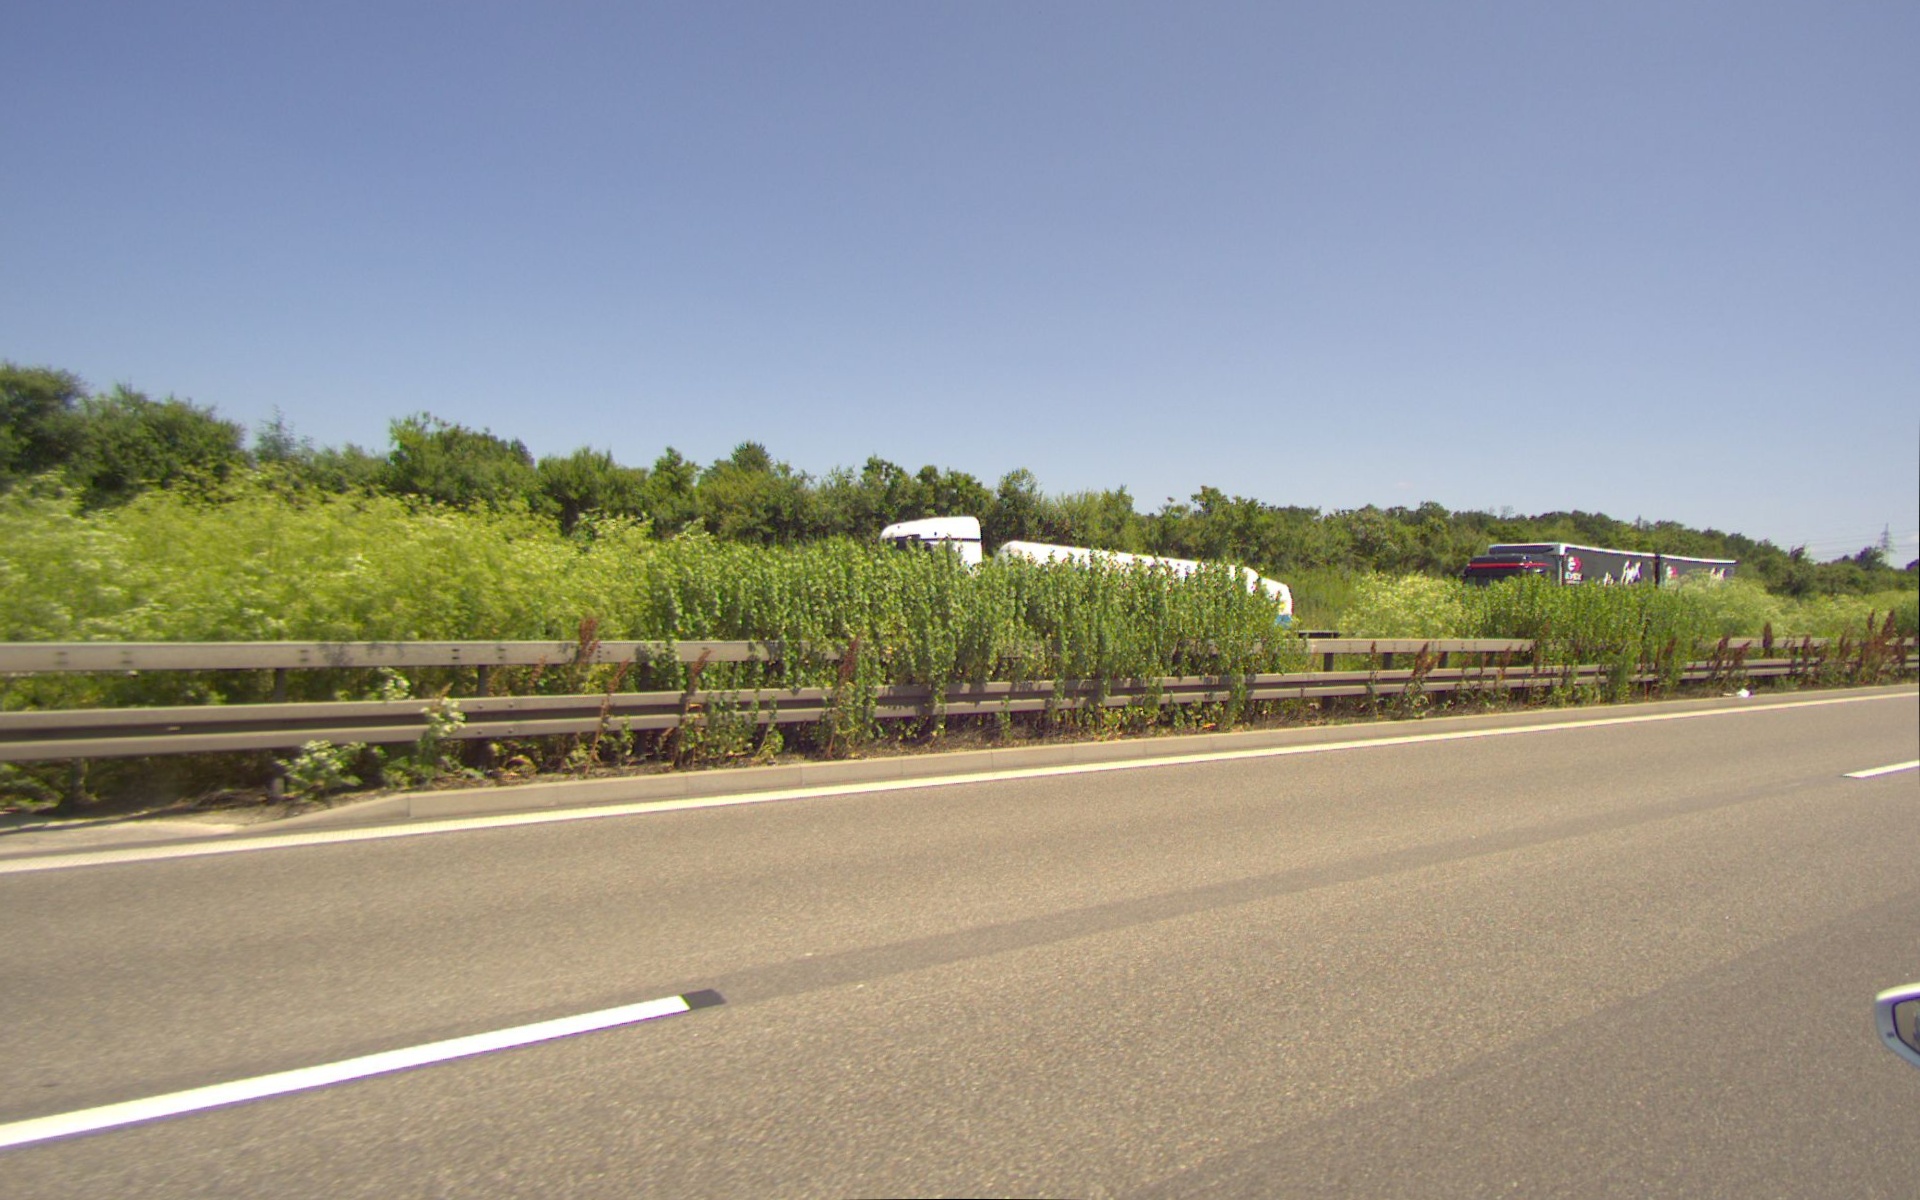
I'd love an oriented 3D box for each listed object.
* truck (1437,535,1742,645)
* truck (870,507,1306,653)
[{"bbox_3d":[25.780,-0.283,40.216,18.340,3.660,3.209,1,2,-35],"label":"truck"},{"bbox_3d":[4.371,-0.373,29.243,14.531,3.502,2.444,1,-1,-34],"label":"truck"}]
